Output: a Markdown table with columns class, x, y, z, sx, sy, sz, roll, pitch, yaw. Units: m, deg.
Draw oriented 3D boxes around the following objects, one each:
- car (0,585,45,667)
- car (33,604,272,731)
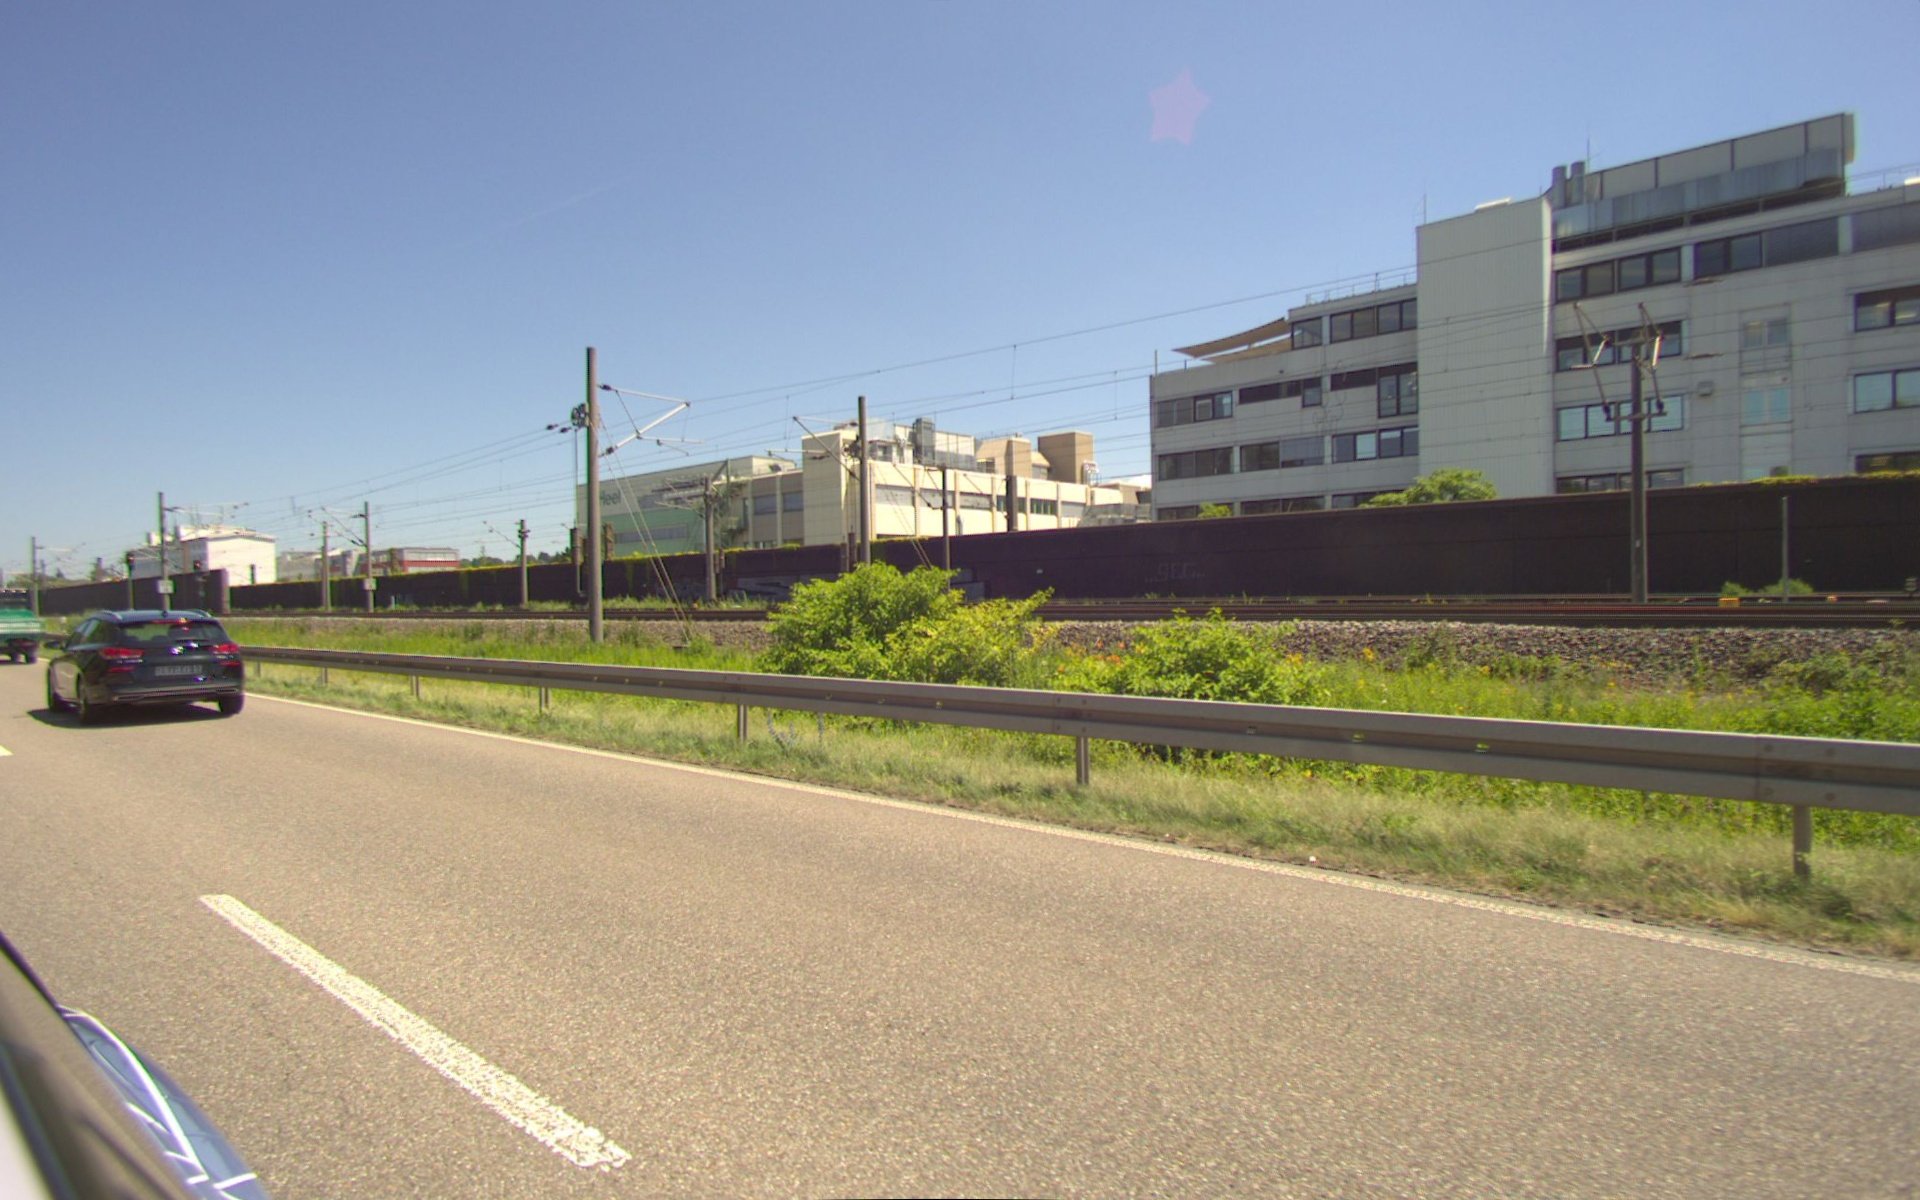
| class | x | y | z | sx | sy | sz | roll | pitch | yaw |
| --- | --- | --- | --- | --- | --- | --- | --- | --- | --- |
| car | -29.566 | 0.777 | 30.564 | 6.233 | 2.304 | 2.237 | -1 | 0 | 42 |
| car | -11.601 | 0.852 | 14.441 | 4.160 | 1.519 | 1.954 | -1 | 0 | 41 |
